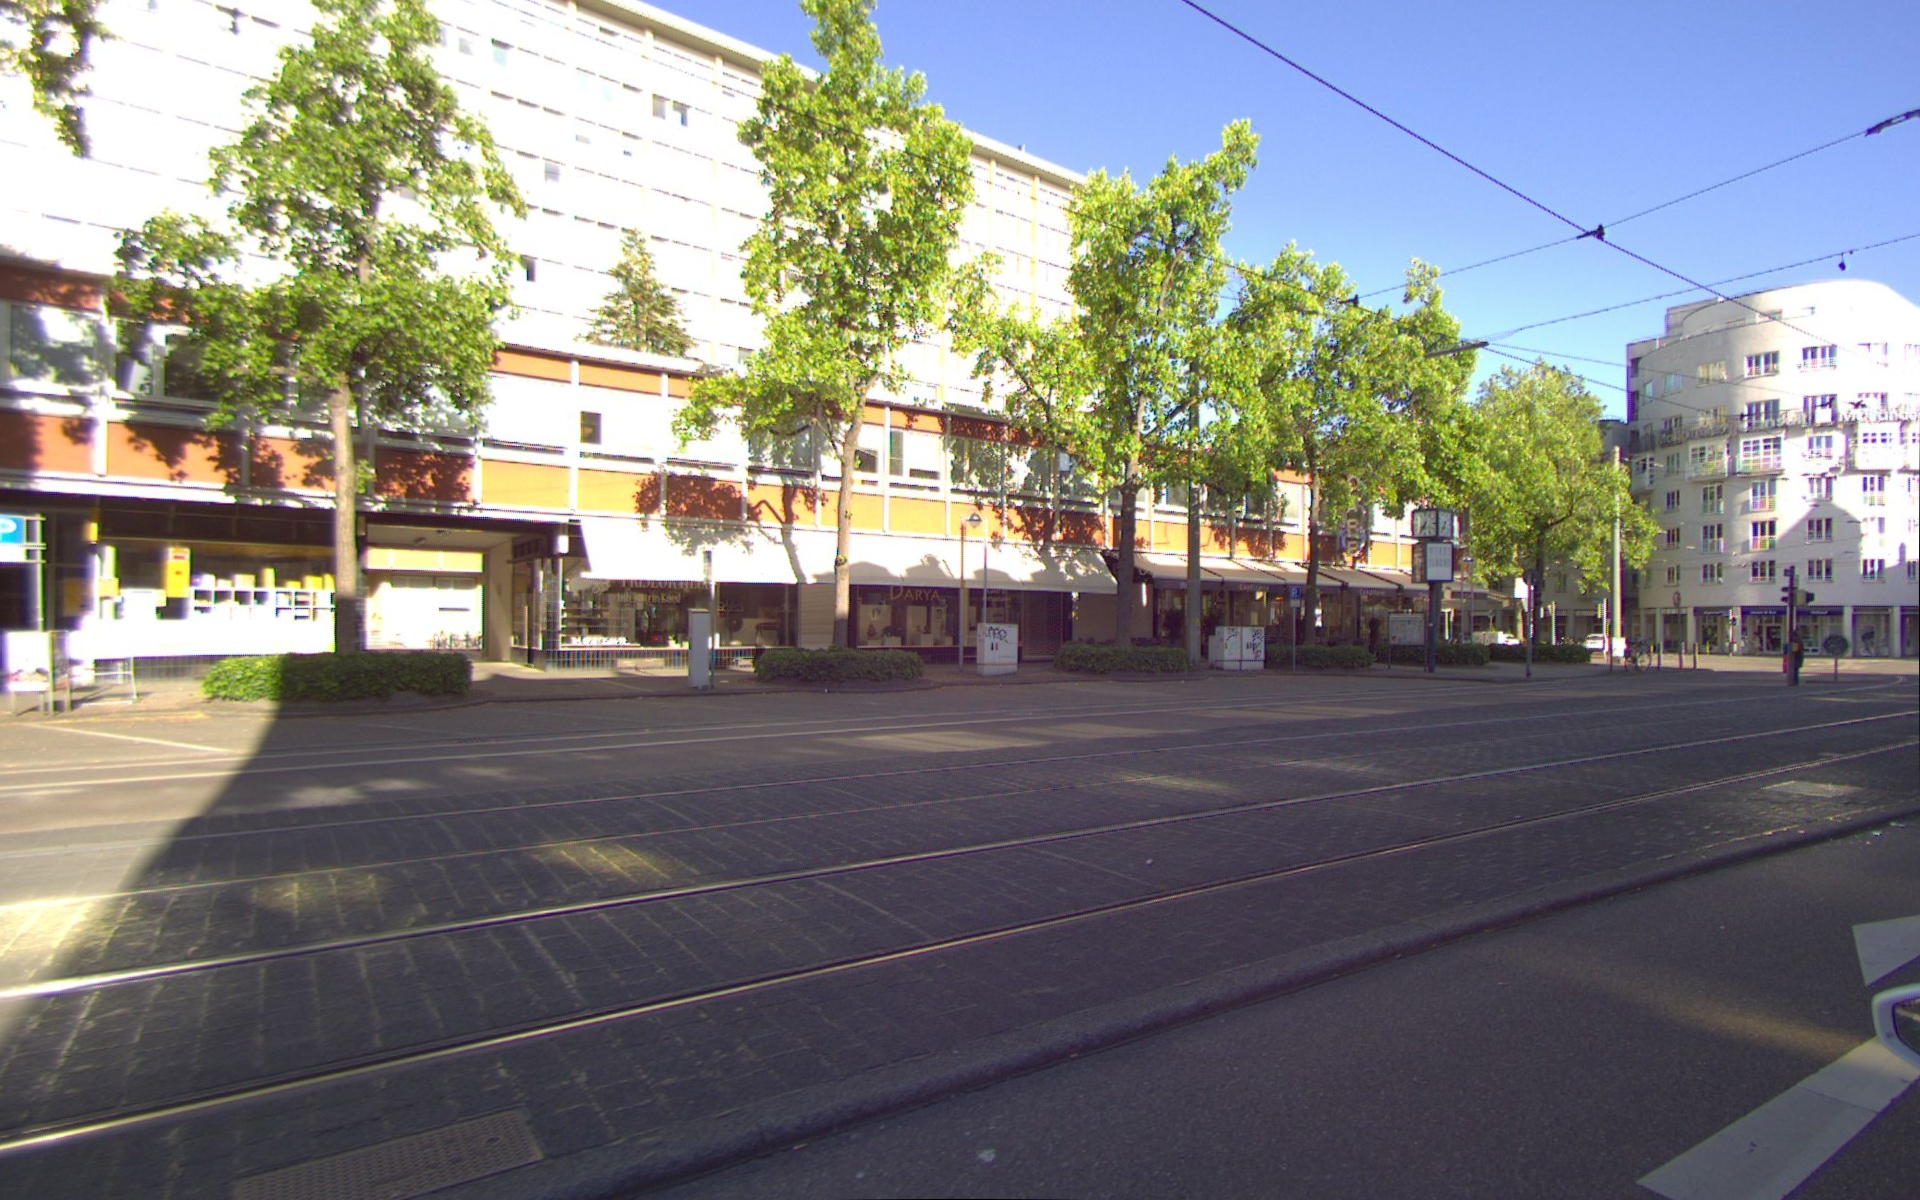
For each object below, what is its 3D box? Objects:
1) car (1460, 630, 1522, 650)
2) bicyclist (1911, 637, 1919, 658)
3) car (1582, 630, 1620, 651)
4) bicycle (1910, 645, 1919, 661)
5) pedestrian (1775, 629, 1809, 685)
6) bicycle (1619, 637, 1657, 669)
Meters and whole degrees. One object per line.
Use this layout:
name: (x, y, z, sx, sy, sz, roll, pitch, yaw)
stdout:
car: (41.581, 3.100, 78.699, 1.782, 1.422, 3.976, -1, 0, -30)
bicyclist: (62.279, 3.086, 65.199, 0.917, 1.302, 0.585, 3, -2, -34)
car: (47.709, 2.985, 74.728, 1.778, 1.422, 4.079, -1, 0, 42)
bicycle: (62.395, 3.455, 65.264, 1.799, 0.985, 0.590, 3, -3, -34)
pedestrian: (23.553, 1.610, 28.437, 0.850, 1.537, 0.497, 1, -3, -34)
bicycle: (25.928, 2.021, 38.394, 2.214, 1.202, 0.494, 1, -2, -36)
